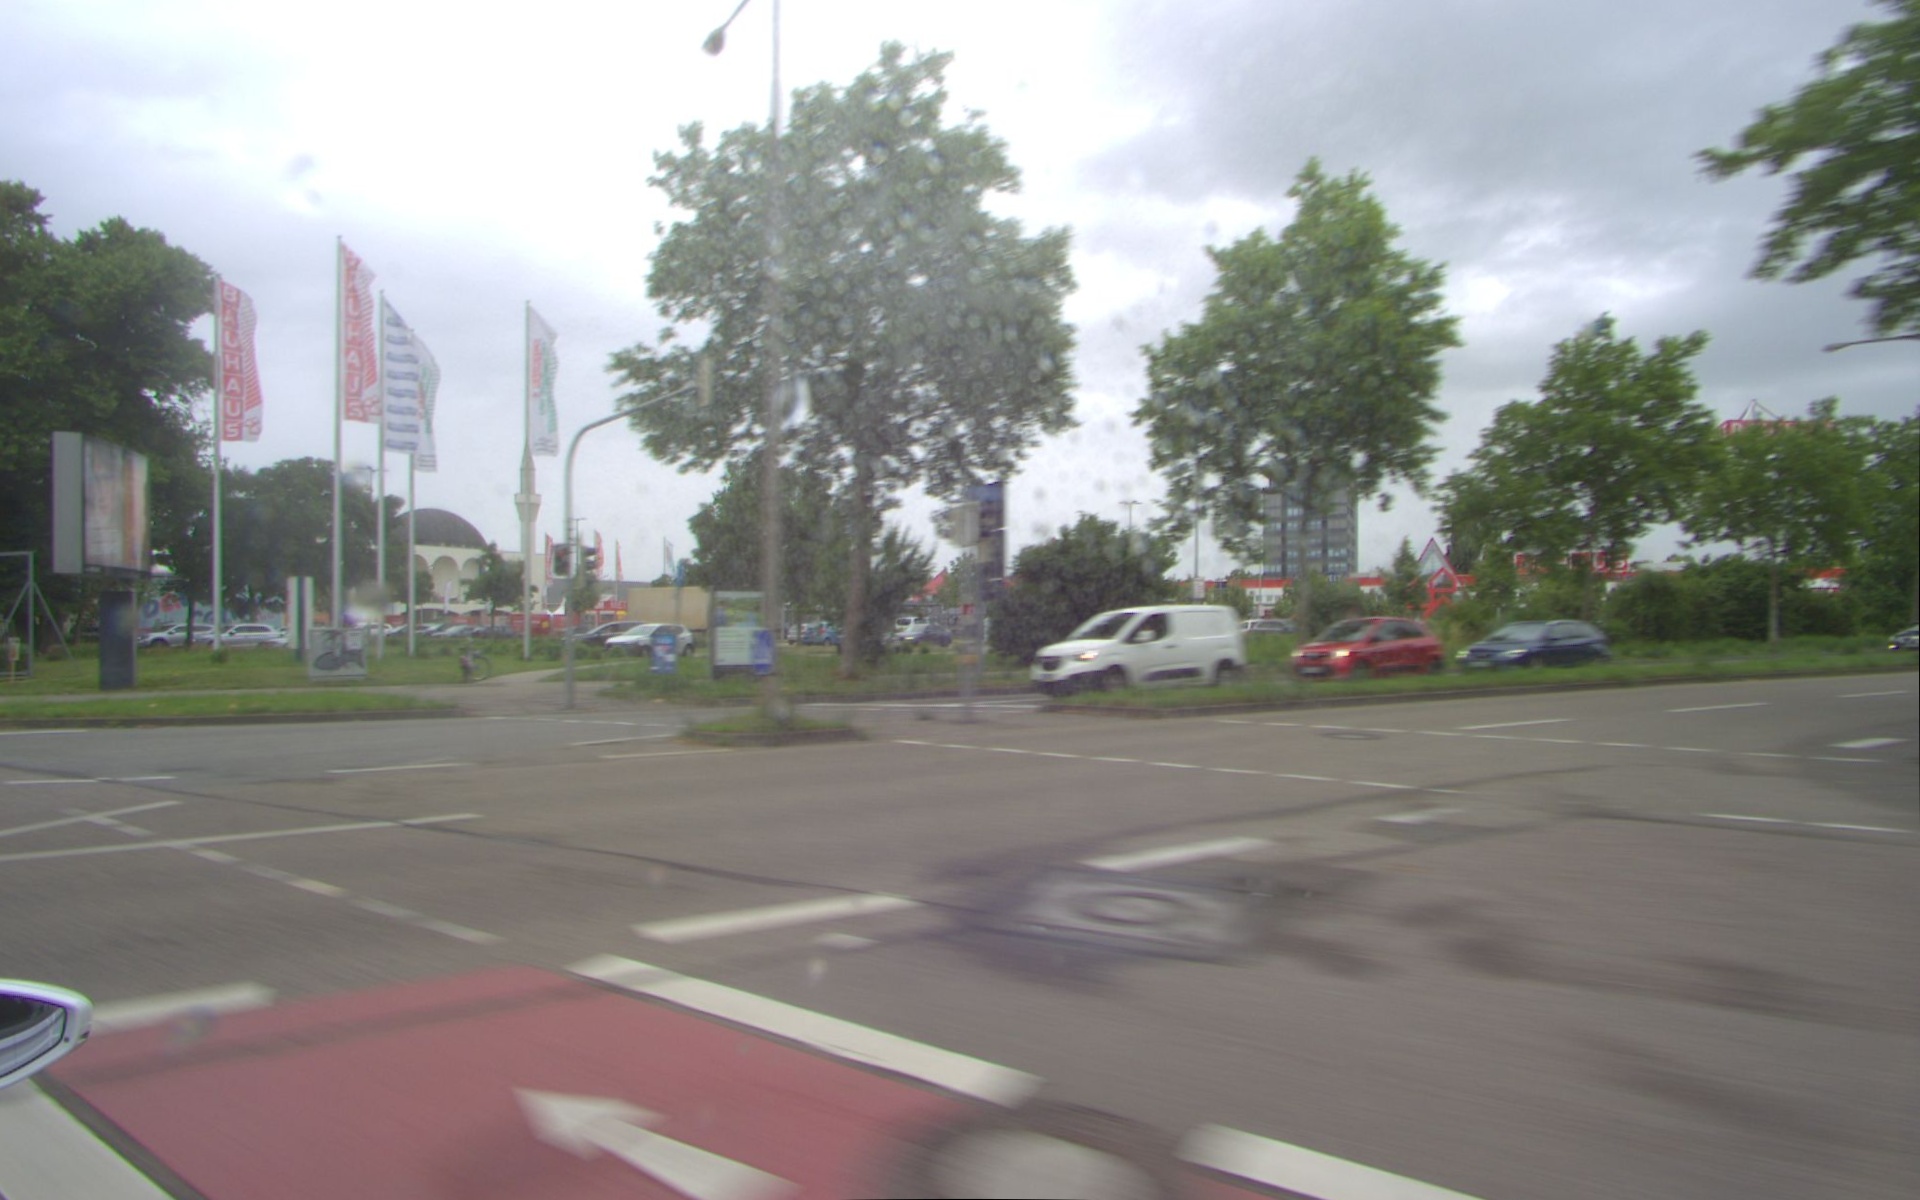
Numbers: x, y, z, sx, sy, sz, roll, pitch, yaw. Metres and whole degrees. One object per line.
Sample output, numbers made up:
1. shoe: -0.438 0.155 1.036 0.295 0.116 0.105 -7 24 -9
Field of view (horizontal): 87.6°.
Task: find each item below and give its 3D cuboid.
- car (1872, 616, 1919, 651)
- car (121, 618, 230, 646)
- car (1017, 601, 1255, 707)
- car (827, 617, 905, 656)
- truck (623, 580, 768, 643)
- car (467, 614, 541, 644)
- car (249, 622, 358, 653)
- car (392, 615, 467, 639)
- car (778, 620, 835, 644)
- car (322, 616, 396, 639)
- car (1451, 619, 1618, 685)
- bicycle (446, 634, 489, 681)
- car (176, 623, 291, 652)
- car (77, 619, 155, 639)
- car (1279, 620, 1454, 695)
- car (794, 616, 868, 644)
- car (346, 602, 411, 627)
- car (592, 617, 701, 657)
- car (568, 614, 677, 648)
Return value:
1. car: 42.505 1.444 44.465 4.005 1.501 1.689 0 -1 -28
2. car: -44.945 1.882 57.463 1.927 1.515 4.536 -1 -3 23
3. car: 3.442 1.012 19.457 4.357 1.851 1.872 0 -2 -29
4. car: -3.890 1.528 40.801 1.798 1.515 4.220 2 -3 -26
5. truck: -16.400 0.814 61.924 9.106 3.608 2.939 -1 -3 28
6. car: -32.315 2.036 71.100 2.119 2.078 4.556 -1 -1 23
7. car: -34.275 2.001 52.413 1.899 1.515 4.449 -1 -3 23
8. car: -38.851 1.951 73.389 2.119 1.698 4.556 -1 -1 23
9. car: -11.012 2.278 72.217 2.118 1.698 4.557 -1 -1 22
10. car: -46.205 2.066 77.067 2.119 1.698 4.556 -1 -1 23
11. car: 14.111 1.221 24.587 4.005 1.501 1.689 0 -1 -28
12. bicycle: -12.608 1.460 25.662 0.479 1.132 1.806 0 -1 -10
13. car: -39.873 2.108 55.074 2.136 1.515 4.677 -1 -3 26
14. car: -70.921 2.435 84.209 2.041 1.592 4.550 -1 -1 28
15. car: 9.068 1.219 22.302 3.633 1.551 1.689 0 -1 -28
16. car: -7.379 1.685 57.674 1.957 1.526 4.549 -1 -1 29
17. car: -61.260 1.502 105.566 2.041 2.570 5.739 0 -1 28
18. car: -12.613 1.541 40.524 1.899 1.515 4.225 -1 -3 24
19. car: -15.726 1.480 46.728 4.547 1.515 1.923 2 -3 -29
